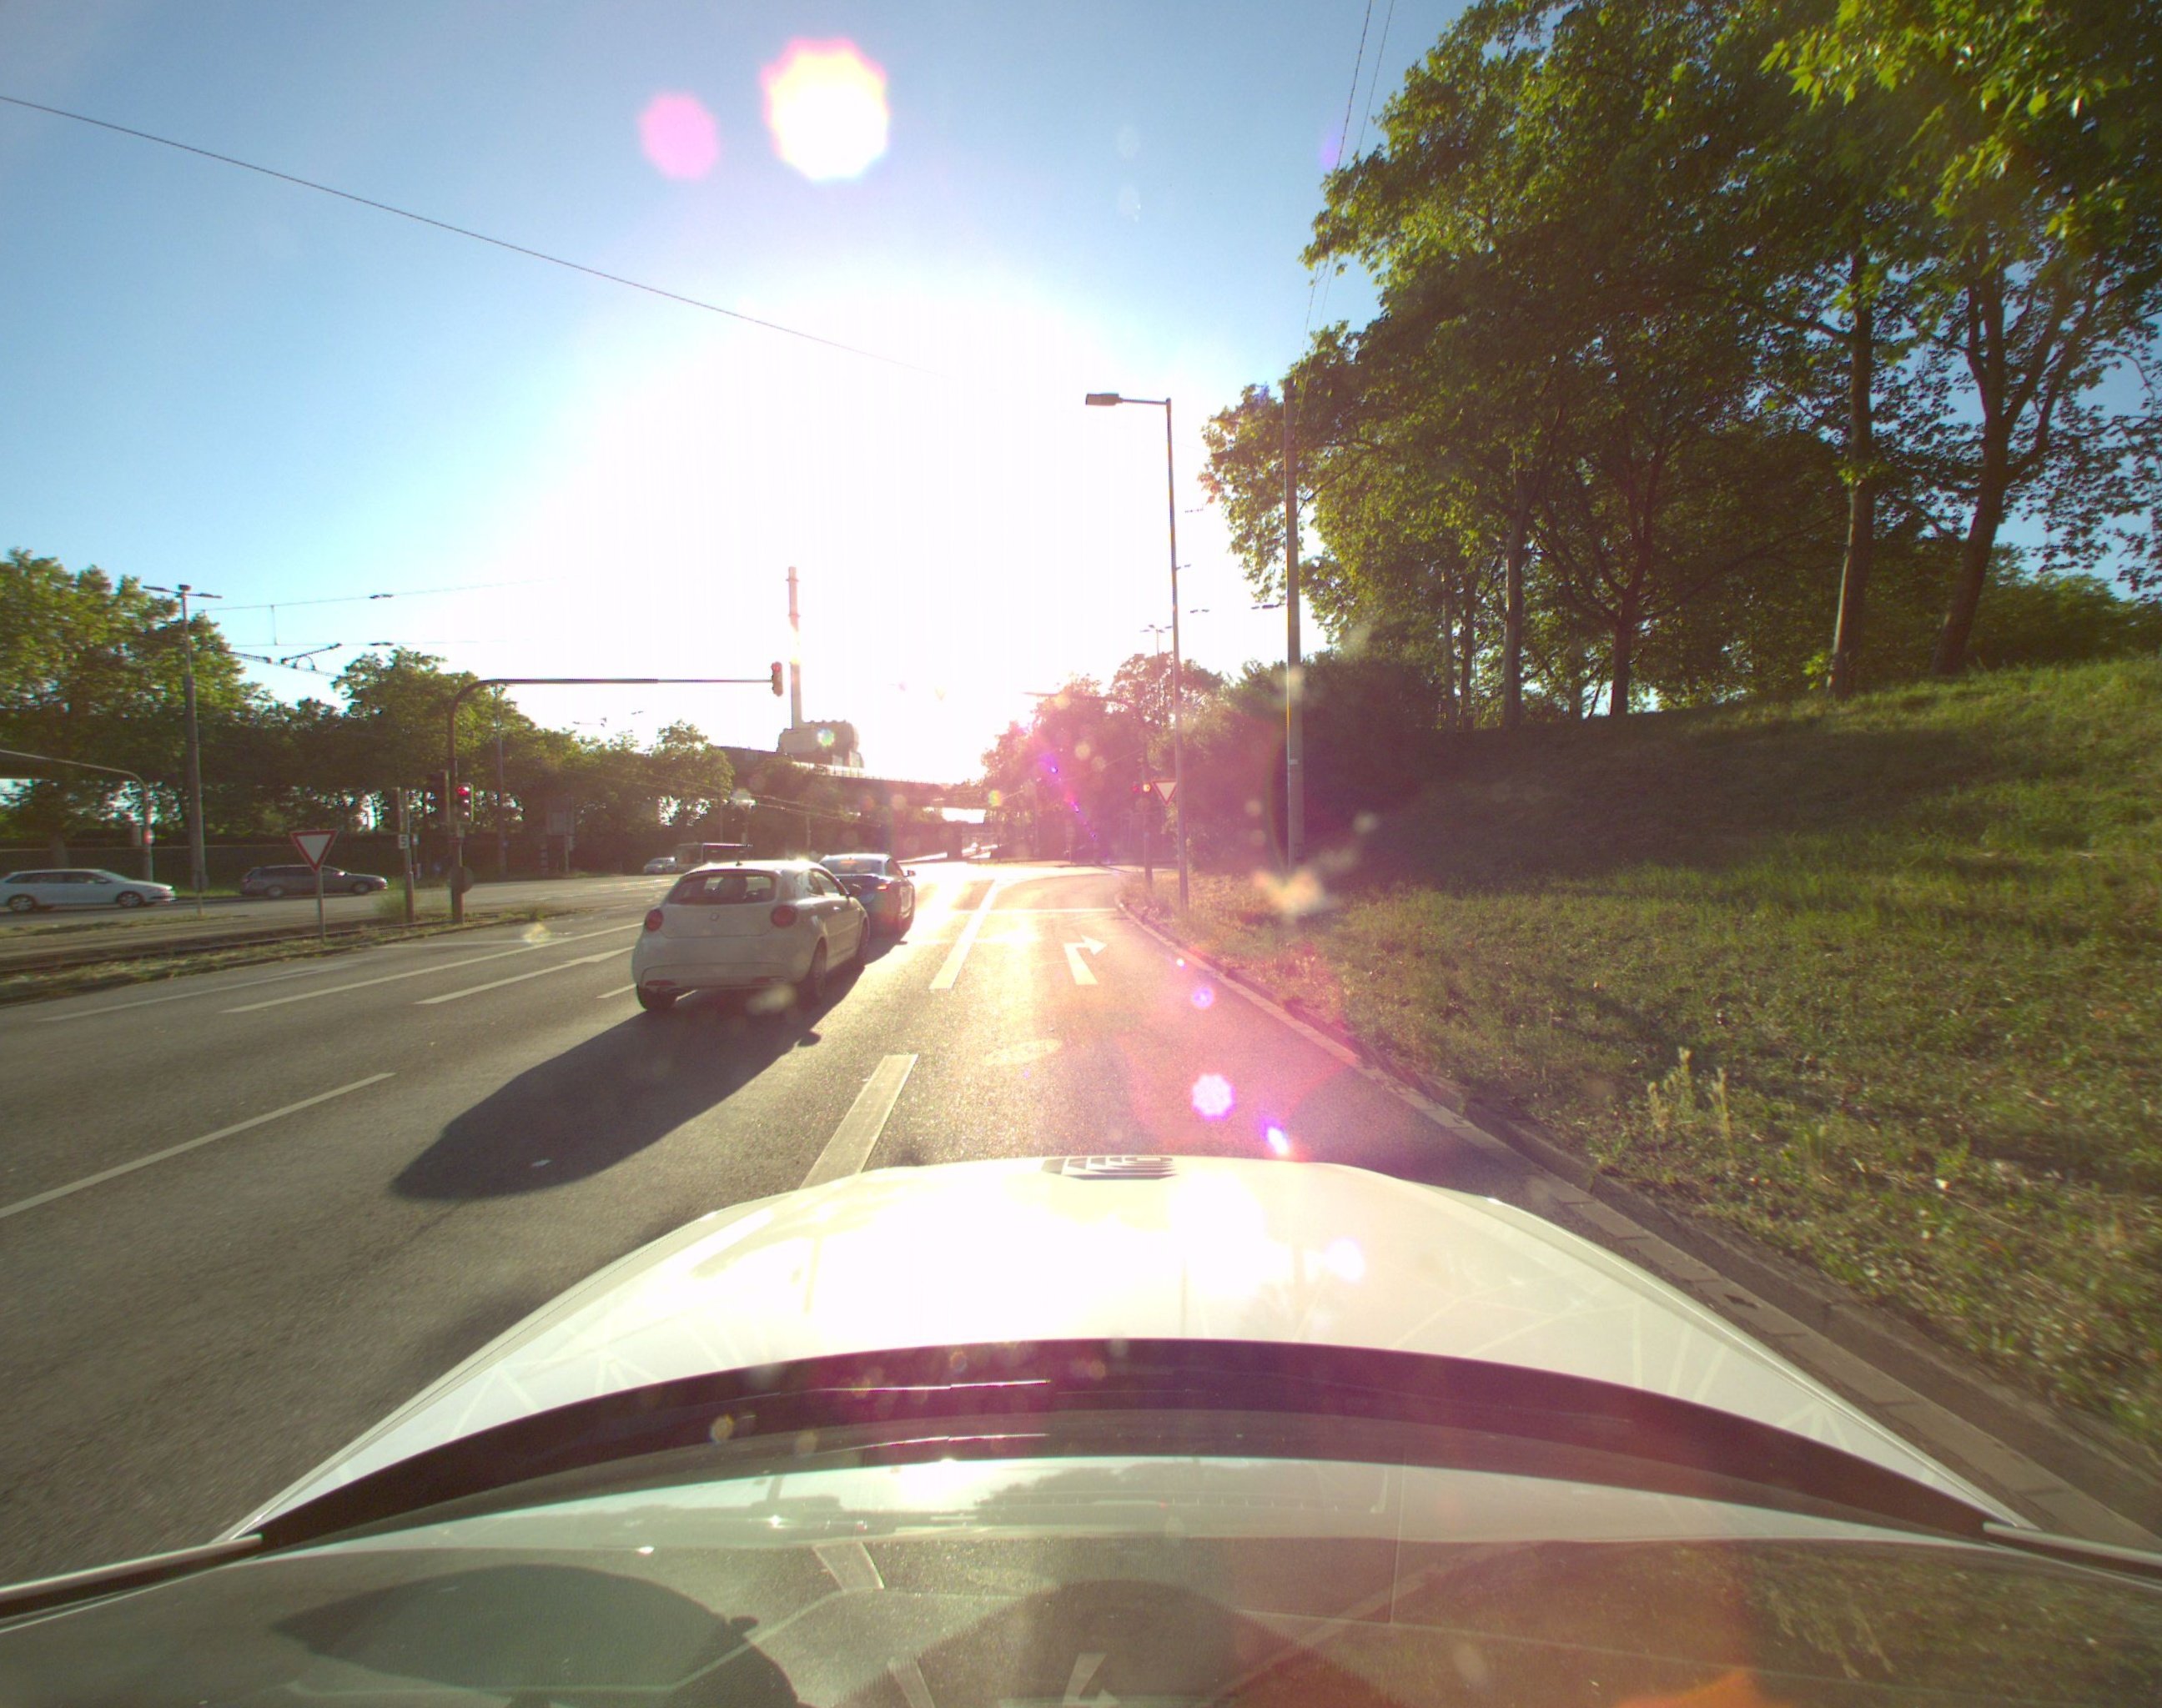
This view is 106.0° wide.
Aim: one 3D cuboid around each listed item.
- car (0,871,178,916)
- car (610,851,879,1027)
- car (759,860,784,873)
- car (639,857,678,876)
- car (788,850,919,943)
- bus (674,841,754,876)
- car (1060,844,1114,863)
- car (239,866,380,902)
[{"bbox_3d":[-36.050,1.379,29.472,4.214,1.405,1.653,-1,1,-34],"label":"car"},{"bbox_3d":[-3.586,0.768,9.509,1.734,1.505,3.993,-2,1,-5],"label":"car"},{"bbox_3d":[-37.488,1.495,98.832,1.603,1.419,4.004,-1,0,-2],"label":"car"},{"bbox_3d":[-36.539,1.062,70.522,1.604,1.512,4.000,-1,0,-6],"label":"car"},{"bbox_3d":[-4.231,0.693,15.791,1.712,1.465,4.198,-2,1,-6],"label":"car"},{"bbox_3d":[-36.993,0.511,82.774,2.536,3.130,12.908,-2,-1,-1],"label":"bus"},{"bbox_3d":[0.534,-0.070,72.501,4.593,1.574,1.682,-1,0,-22],"label":"car"},{"bbox_3d":[-34.567,1.301,36.599,1.649,1.405,4.472,-1,1,43],"label":"car"}]
